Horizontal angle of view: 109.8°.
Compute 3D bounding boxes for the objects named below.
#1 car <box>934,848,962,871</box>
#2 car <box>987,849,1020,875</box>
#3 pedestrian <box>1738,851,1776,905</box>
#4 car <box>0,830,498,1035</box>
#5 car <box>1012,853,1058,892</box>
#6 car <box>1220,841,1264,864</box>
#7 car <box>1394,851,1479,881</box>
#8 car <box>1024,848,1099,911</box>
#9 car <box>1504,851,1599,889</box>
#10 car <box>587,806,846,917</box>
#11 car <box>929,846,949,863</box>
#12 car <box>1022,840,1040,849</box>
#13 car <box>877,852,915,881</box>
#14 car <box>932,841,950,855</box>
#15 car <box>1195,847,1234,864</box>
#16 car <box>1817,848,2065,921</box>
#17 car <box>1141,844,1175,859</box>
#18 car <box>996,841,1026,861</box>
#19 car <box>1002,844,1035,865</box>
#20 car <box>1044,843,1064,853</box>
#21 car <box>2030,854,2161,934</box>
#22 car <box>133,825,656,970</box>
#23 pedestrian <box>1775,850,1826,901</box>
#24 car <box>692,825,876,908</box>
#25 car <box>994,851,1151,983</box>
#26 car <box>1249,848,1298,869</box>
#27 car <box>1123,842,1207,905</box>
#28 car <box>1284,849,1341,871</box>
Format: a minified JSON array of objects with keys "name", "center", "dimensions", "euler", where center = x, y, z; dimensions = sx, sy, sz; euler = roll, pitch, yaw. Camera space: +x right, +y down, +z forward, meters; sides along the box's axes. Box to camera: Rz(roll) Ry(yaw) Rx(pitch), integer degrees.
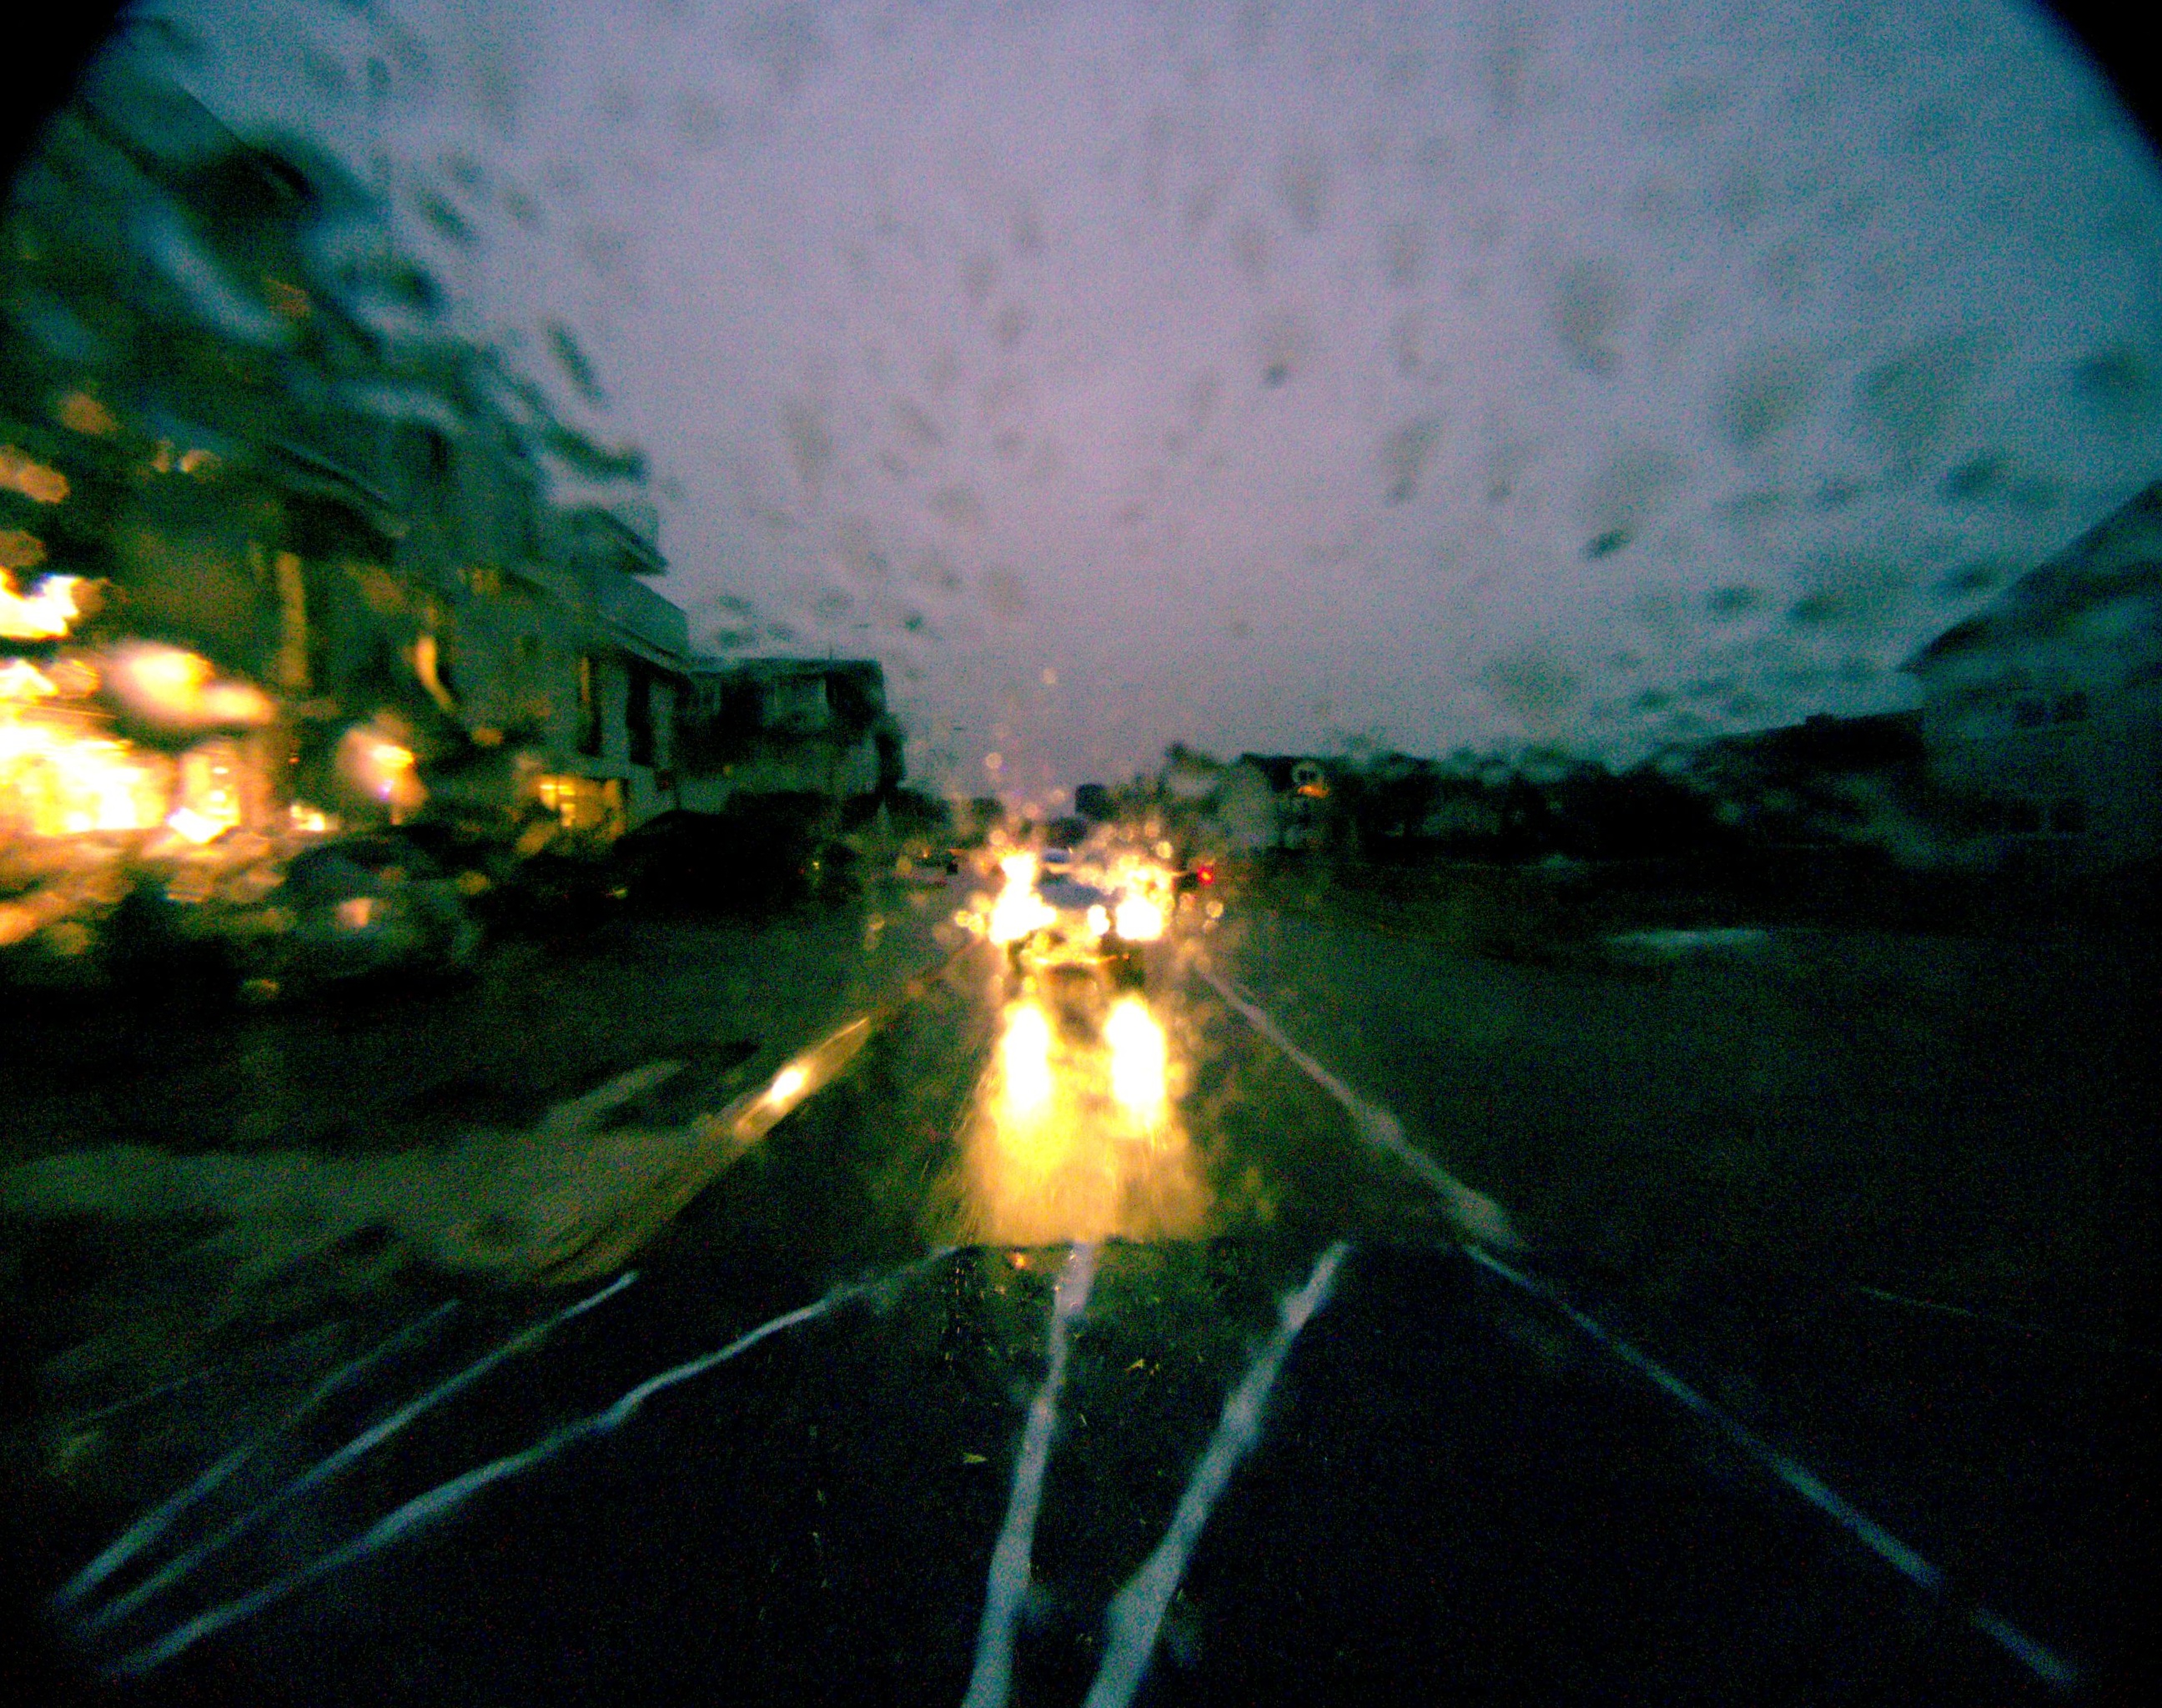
[{"name":"car","center":[-9.469,0.346,54.433],"dimensions":[1.849,1.577,3.766],"euler":[0,0,-9]},{"name":"car","center":[-4.832,0.460,46.740],"dimensions":[1.742,1.434,3.996],"euler":[-2,1,-9]},{"name":"pedestrian","center":[16.669,0.579,18.737],"dimensions":[0.512,1.294,0.601],"euler":[-1,1,-39]},{"name":"car","center":[-7.804,0.585,6.542],"dimensions":[4.001,1.494,1.811],"euler":[1,1,-11]},{"name":"car","center":[-1.990,0.724,31.987],"dimensions":[1.573,1.460,3.613],"euler":[-2,1,-8]},{"name":"car","center":[13.241,-0.151,62.617],"dimensions":[1.801,1.816,4.251],"euler":[0,1,-15]},{"name":"car","center":[18.845,0.589,40.475],"dimensions":[1.801,1.460,4.251],"euler":[0,1,-14]},{"name":"car","center":[-0.651,0.679,21.731],"dimensions":[1.682,1.614,3.997],"euler":[-1,0,-8]},{"name":"car","center":[20.113,0.638,32.658],"dimensions":[1.479,1.500,3.499],"euler":[0,1,-11]},{"name":"car","center":[-7.720,0.177,16.529],"dimensions":[4.553,1.922,1.974],"euler":[5,0,-5]},{"name":"car","center":[-11.422,0.044,60.997],"dimensions":[1.498,1.283,3.287],"euler":[0,0,-12]},{"name":"car","center":[-8.247,-1.518,125.309],"dimensions":[1.802,1.460,4.249],"euler":[0,1,-20]},{"name":"car","center":[-10.120,0.679,41.791],"dimensions":[1.778,1.488,3.774],"euler":[2,0,-10]},{"name":"car","center":[-21.400,-0.932,116.367],"dimensions":[2.002,2.002,3.992],"euler":[-1,1,-20]},{"name":"car","center":[11.879,0.113,68.050],"dimensions":[1.677,1.460,4.010],"euler":[2,0,-19]},{"name":"car","center":[22.139,0.692,19.819],"dimensions":[1.704,1.651,3.955],"euler":[-1,1,-10]},{"name":"car","center":[8.070,-0.282,79.864],"dimensions":[1.802,1.460,4.608],"euler":[0,1,-19]},{"name":"car","center":[-7.206,-0.313,77.688],"dimensions":[2.002,2.002,3.992],"euler":[-1,1,-20]},{"name":"car","center":[-4.889,0.018,59.028],"dimensions":[1.785,1.612,3.951],"euler":[0,0,-17]},{"name":"car","center":[-4.083,-0.888,114.266],"dimensions":[1.802,1.460,4.249],"euler":[0,1,-19]},{"name":"car","center":[22.643,0.822,15.285],"dimensions":[1.780,1.560,4.090],"euler":[-1,1,-7]},{"name":"car","center":[-8.211,0.509,9.580],"dimensions":[4.523,1.484,1.973],"euler":[3,1,-8]},{"name":"pedestrian","center":[17.730,0.519,18.736],"dimensions":[0.693,1.242,0.602],"euler":[-1,1,-6]},{"name":"car","center":[-7.713,0.325,20.159],"dimensions":[4.154,1.625,1.752],"euler":[7,0,-12]},{"name":"car","center":[-0.213,0.786,11.288],"dimensions":[1.888,1.569,3.999],"euler":[-1,0,-3]},{"name":"car","center":[14.607,0.322,57.877],"dimensions":[1.801,1.460,4.251],"euler":[0,1,-14]},{"name":"car","center":[2.570,0.540,24.207],"dimensions":[1.724,1.802,4.133],"euler":[-1,1,-7]},{"name":"car","center":[15.944,0.371,52.494],"dimensions":[1.801,1.460,4.251],"euler":[0,1,-14]}]
